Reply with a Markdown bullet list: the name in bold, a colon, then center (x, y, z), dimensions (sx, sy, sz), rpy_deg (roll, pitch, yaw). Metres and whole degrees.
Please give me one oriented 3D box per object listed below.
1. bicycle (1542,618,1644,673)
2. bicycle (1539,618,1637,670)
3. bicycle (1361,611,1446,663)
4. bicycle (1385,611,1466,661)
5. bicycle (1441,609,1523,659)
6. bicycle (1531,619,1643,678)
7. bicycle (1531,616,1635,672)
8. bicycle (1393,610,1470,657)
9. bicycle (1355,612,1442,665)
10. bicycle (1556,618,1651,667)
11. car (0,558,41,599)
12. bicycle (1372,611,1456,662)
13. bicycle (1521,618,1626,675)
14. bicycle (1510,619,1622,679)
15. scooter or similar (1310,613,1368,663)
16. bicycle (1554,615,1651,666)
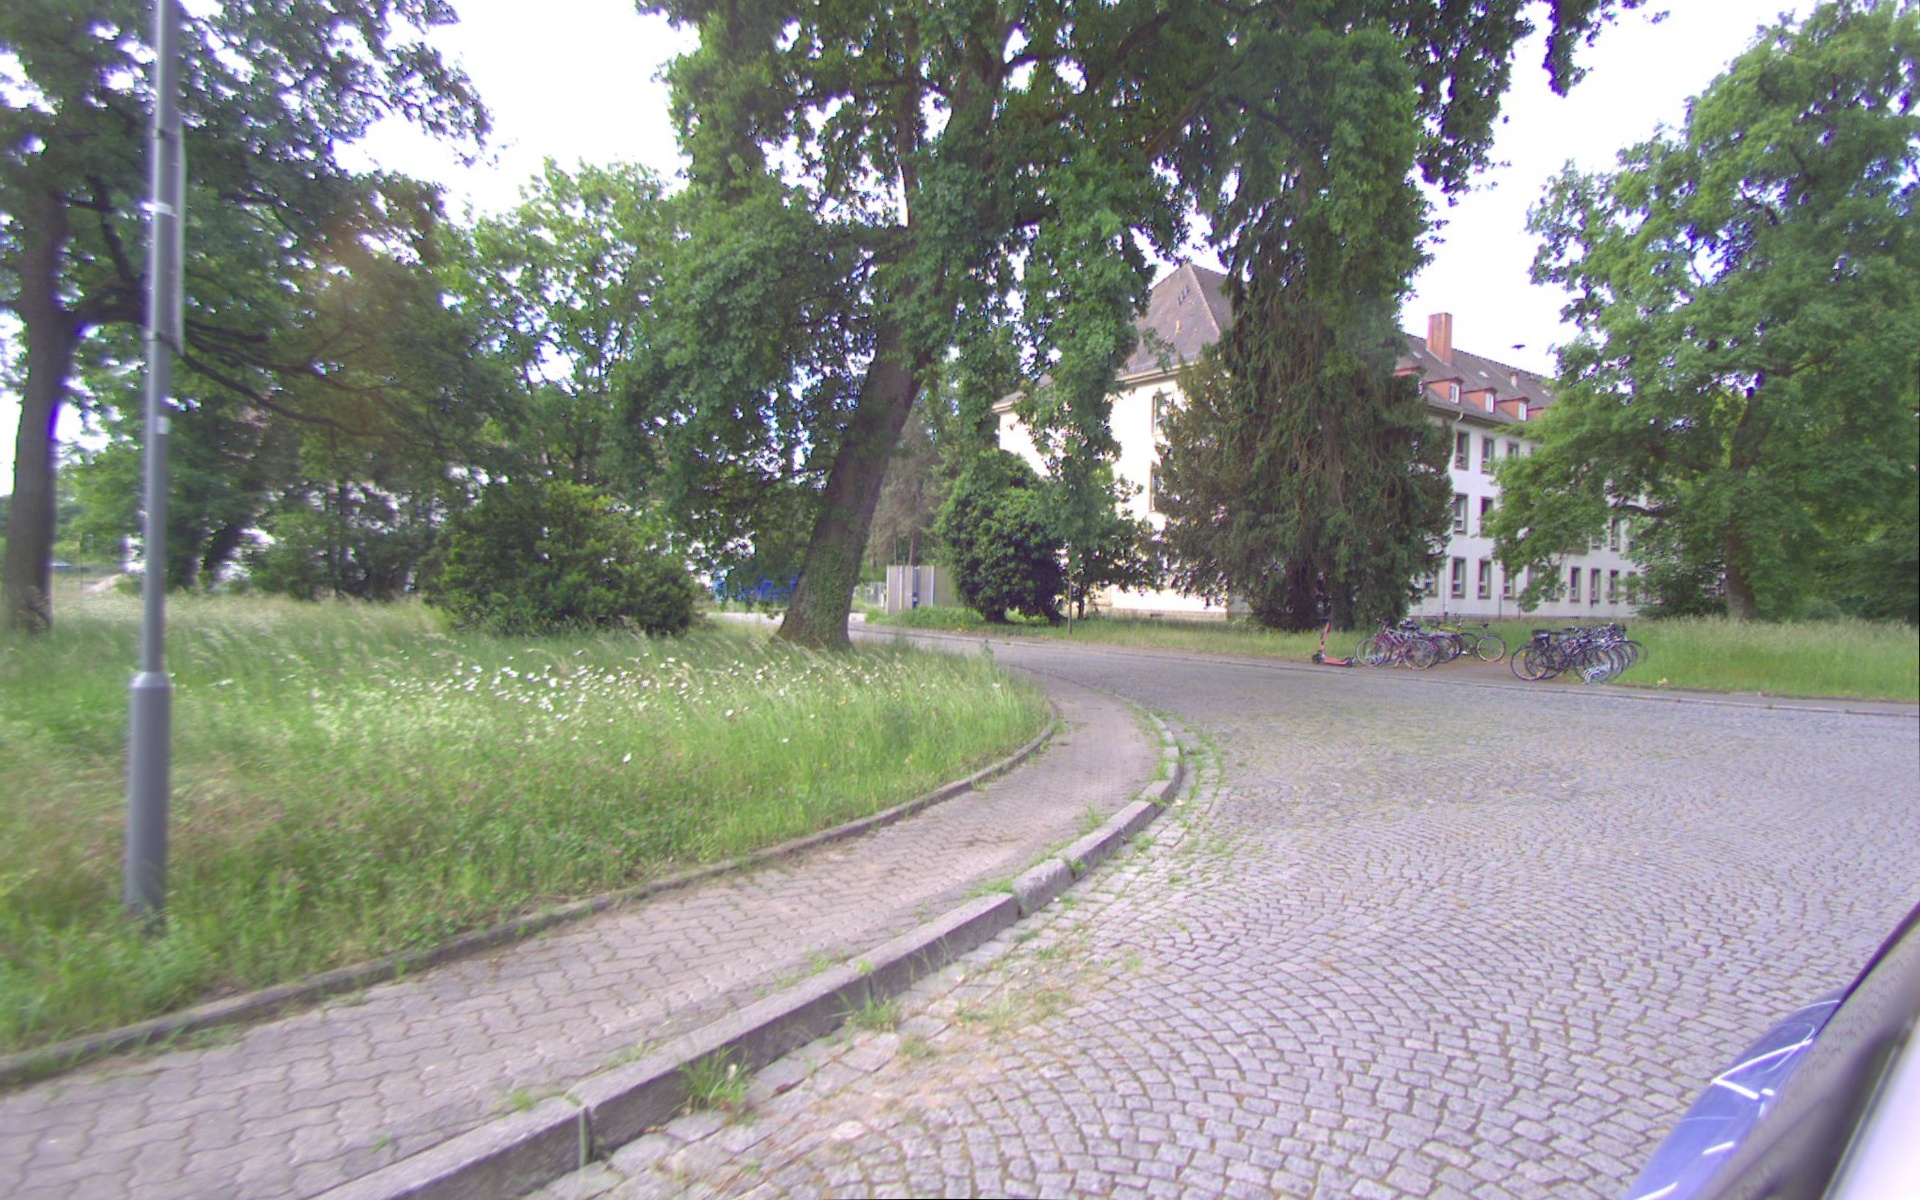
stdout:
- **bicycle**: center (14.337, 1.008, 22.974), dimensions (1.925, 1.185, 0.482), rpy_deg (-1, -1, 33)
- **bicycle**: center (14.757, 1.018, 23.834), dimensions (1.925, 1.185, 0.482), rpy_deg (-1, -1, 33)
- **bicycle**: center (10.748, 0.882, 24.553), dimensions (1.843, 1.185, 0.483), rpy_deg (1, -1, 29)
- **bicycle**: center (11.764, 0.896, 25.629), dimensions (1.841, 1.185, 0.484), rpy_deg (1, -1, 26)
- **bicycle**: center (13.875, 0.879, 26.930), dimensions (0.480, 1.184, 1.855), rpy_deg (2, 1, -45)
- **bicycle**: center (12.959, 0.984, 20.992), dimensions (1.921, 1.185, 0.483), rpy_deg (0, -1, 28)
- **bicycle**: center (13.775, 0.955, 22.444), dimensions (1.923, 1.185, 0.483), rpy_deg (0, -1, 30)
- **bicycle**: center (12.530, 0.872, 26.916), dimensions (1.841, 1.185, 0.484), rpy_deg (1, -1, 26)
- **bicycle**: center (10.414, 0.901, 24.060), dimensions (1.843, 1.185, 0.483), rpy_deg (1, -1, 29)
- **bicycle**: center (16.011, 1.036, 25.208), dimensions (1.929, 1.185, 0.530), rpy_deg (-1, -1, 39)
- **car**: center (-64.950, -1.425, 69.499), dimensions (5.660, 2.675, 2.242), rpy_deg (0, -1, 43)
- **bicycle**: center (11.240, 0.889, 25.068), dimensions (1.846, 1.185, 0.482), rpy_deg (1, -1, 34)
- **bicycle**: center (13.324, 0.995, 22.038), dimensions (1.923, 1.185, 0.483), rpy_deg (0, -1, 30)
- **bicycle**: center (12.357, 0.979, 20.692), dimensions (1.921, 1.185, 0.483), rpy_deg (0, -1, 28)
- **scooter or similar**: center (9.166, 0.900, 24.501), dimensions (0.405, 1.185, 1.308), rpy_deg (1, -1, -36)
- **bicycle**: center (15.283, 0.947, 24.133), dimensions (1.925, 1.185, 0.482), rpy_deg (-1, -1, 33)
